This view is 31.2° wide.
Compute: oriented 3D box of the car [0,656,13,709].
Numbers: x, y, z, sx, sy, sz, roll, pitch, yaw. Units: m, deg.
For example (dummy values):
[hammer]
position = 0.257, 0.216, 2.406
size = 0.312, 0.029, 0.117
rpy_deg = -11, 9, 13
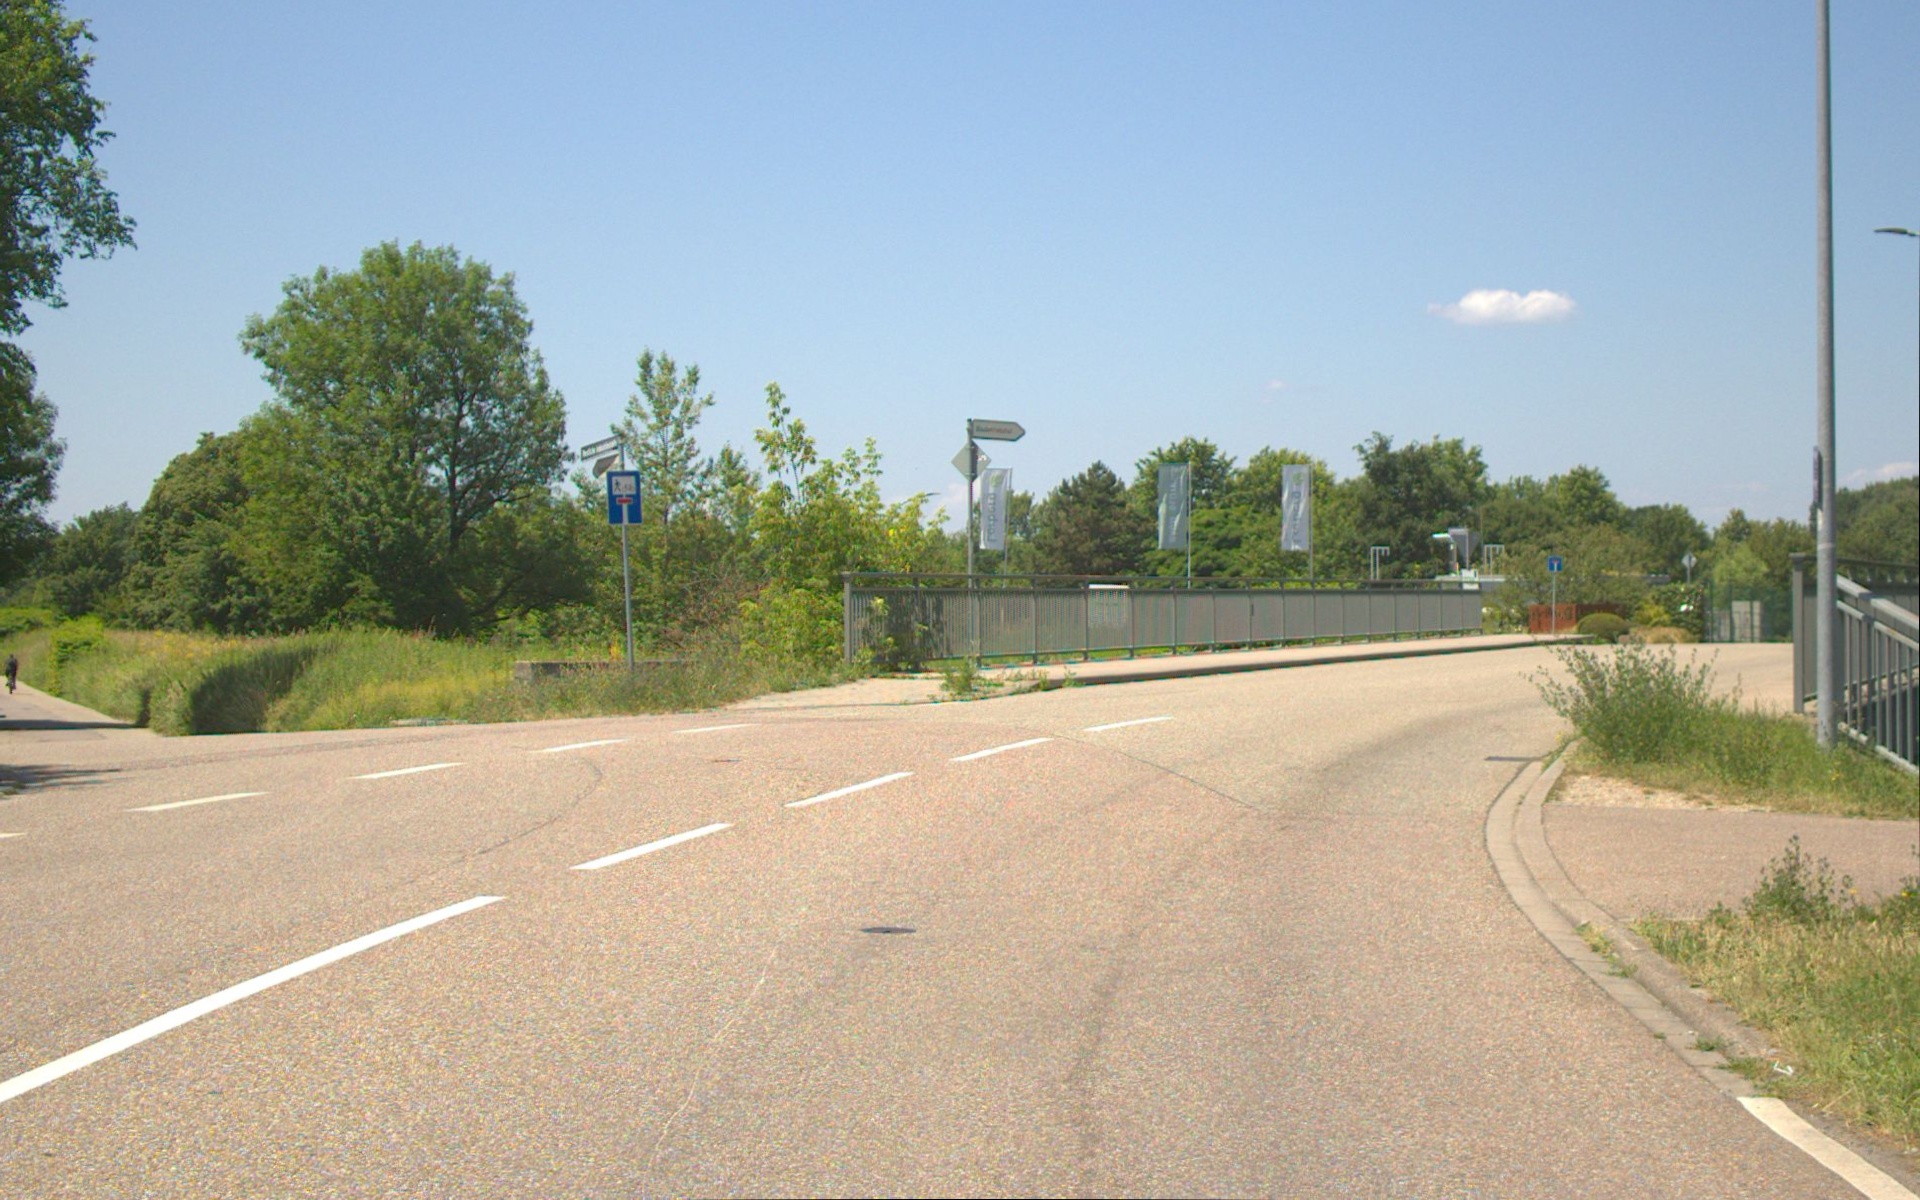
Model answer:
[car]
position = -30.589, 2.551, 106.246
size = 1.993, 1.590, 4.001
rpy_deg = -1, 0, -23

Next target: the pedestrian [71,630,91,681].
[pedestrian]
position = -34.810, 2.198, 136.137
size = 0.611, 2.007, 0.625
rpy_deg = -1, 0, -22
